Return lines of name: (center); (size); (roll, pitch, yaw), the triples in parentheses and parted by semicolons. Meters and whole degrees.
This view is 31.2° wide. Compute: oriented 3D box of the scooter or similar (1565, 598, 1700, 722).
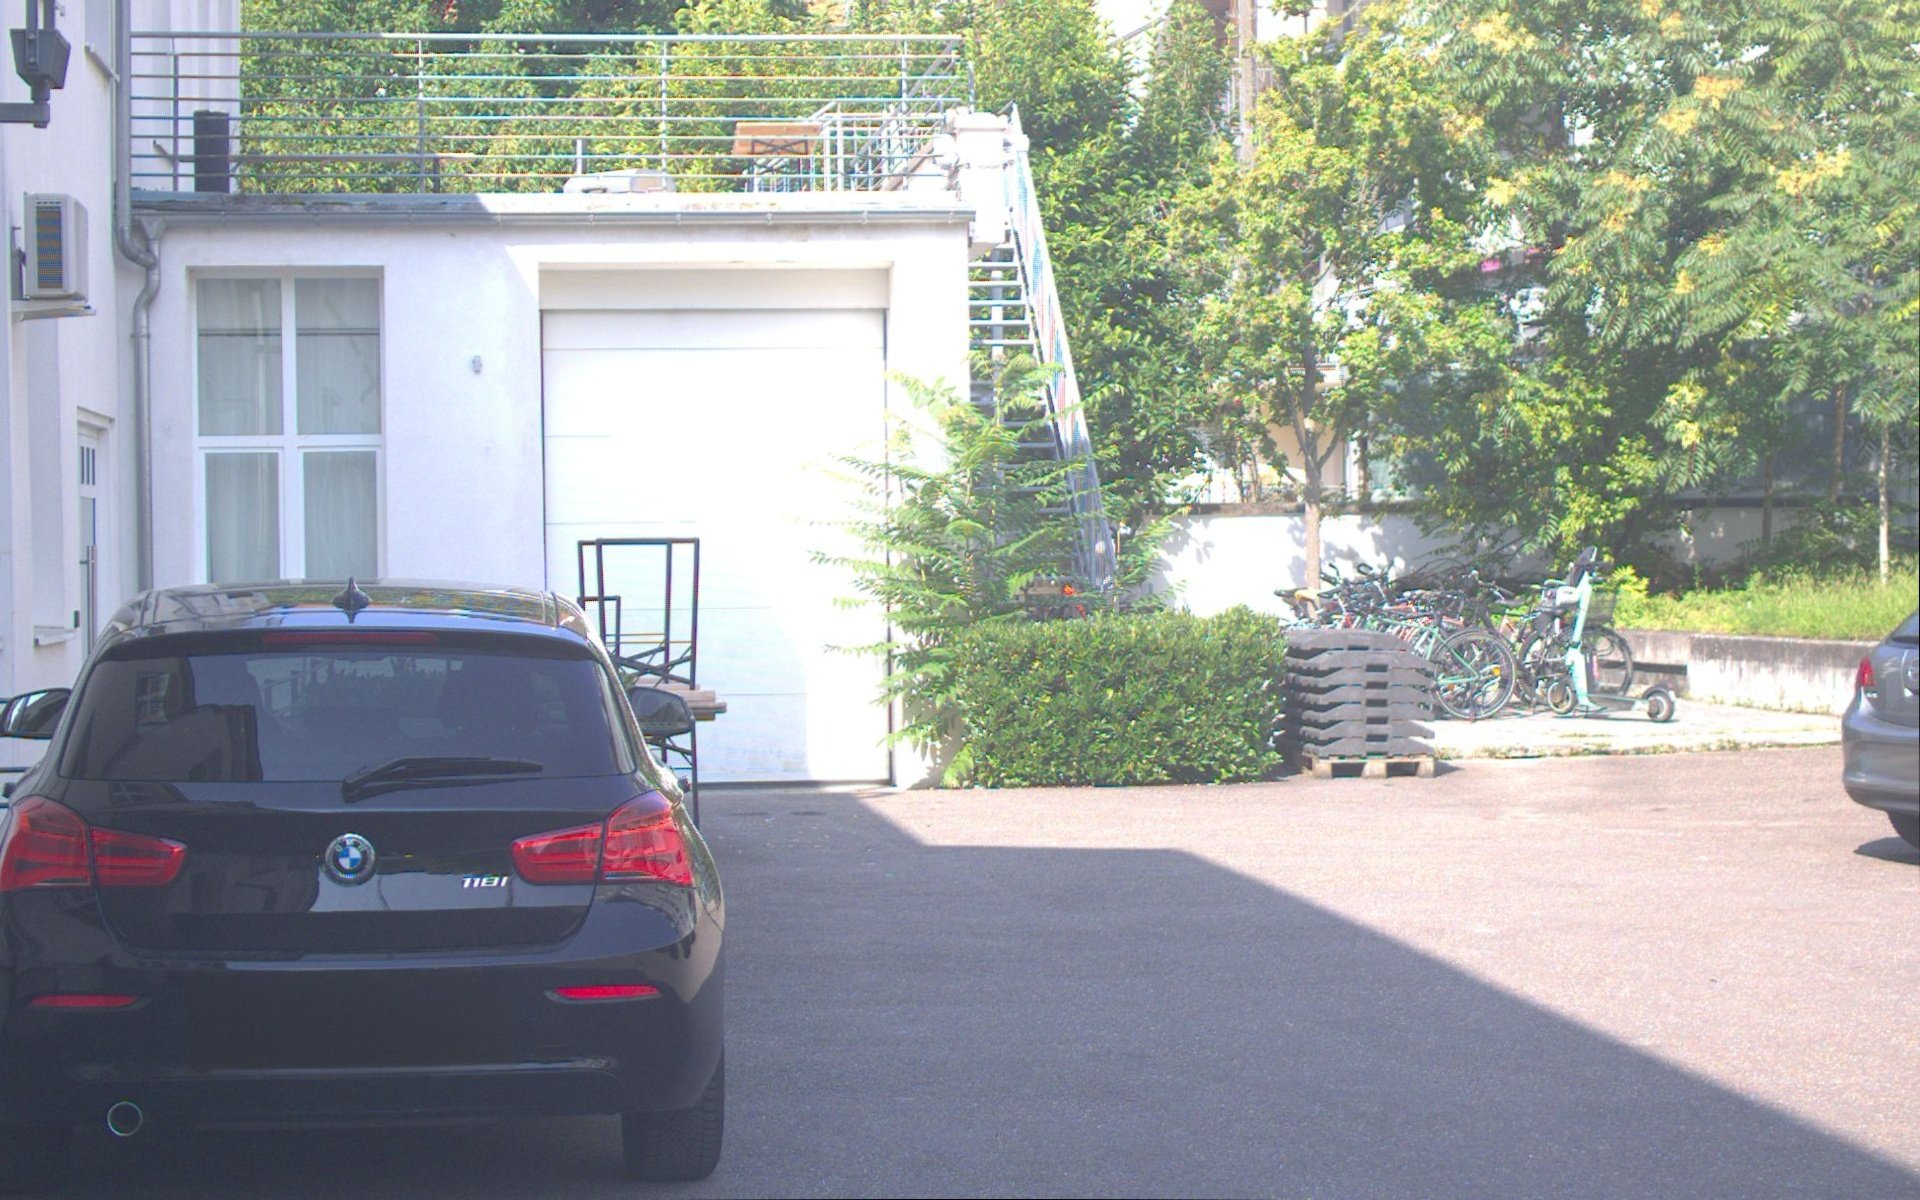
scooter or similar: (5.195, 0.454, 26.583); (0.359, 0.921, 0.999); (-1, 1, -45)

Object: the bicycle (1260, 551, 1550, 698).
bicycle: (3.823, 0.202, 29.545); (2.410, 1.242, 0.526); (0, 1, -7)

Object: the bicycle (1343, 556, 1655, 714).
bicycle: (4.299, 0.270, 27.460); (2.410, 1.242, 0.526); (0, 1, -7)

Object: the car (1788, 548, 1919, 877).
car: (6.072, 0.463, 16.292); (3.895, 1.461, 1.663); (-2, 2, -21)

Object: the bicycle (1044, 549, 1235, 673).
bicycle: (1.792, 0.098, 34.143); (1.987, 1.140, 0.490); (-3, 2, -35)

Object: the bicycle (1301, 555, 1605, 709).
bicycle: (4.037, 0.255, 28.195); (2.410, 1.242, 0.526); (0, 1, -7)

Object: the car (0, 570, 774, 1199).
car: (-1.647, 0.655, 9.330); (1.792, 1.423, 4.137); (0, 1, -10)

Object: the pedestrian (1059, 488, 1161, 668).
pedestrian: (1.488, -0.227, 34.207); (0.609, 1.765, 0.861); (-1, 1, -36)

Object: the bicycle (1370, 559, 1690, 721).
bicycle: (4.443, 0.300, 26.833); (2.410, 1.242, 0.526); (0, 1, -7)

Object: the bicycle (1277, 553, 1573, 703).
bicycle: (3.905, 0.227, 28.921); (2.410, 1.242, 0.526); (0, 1, -7)
